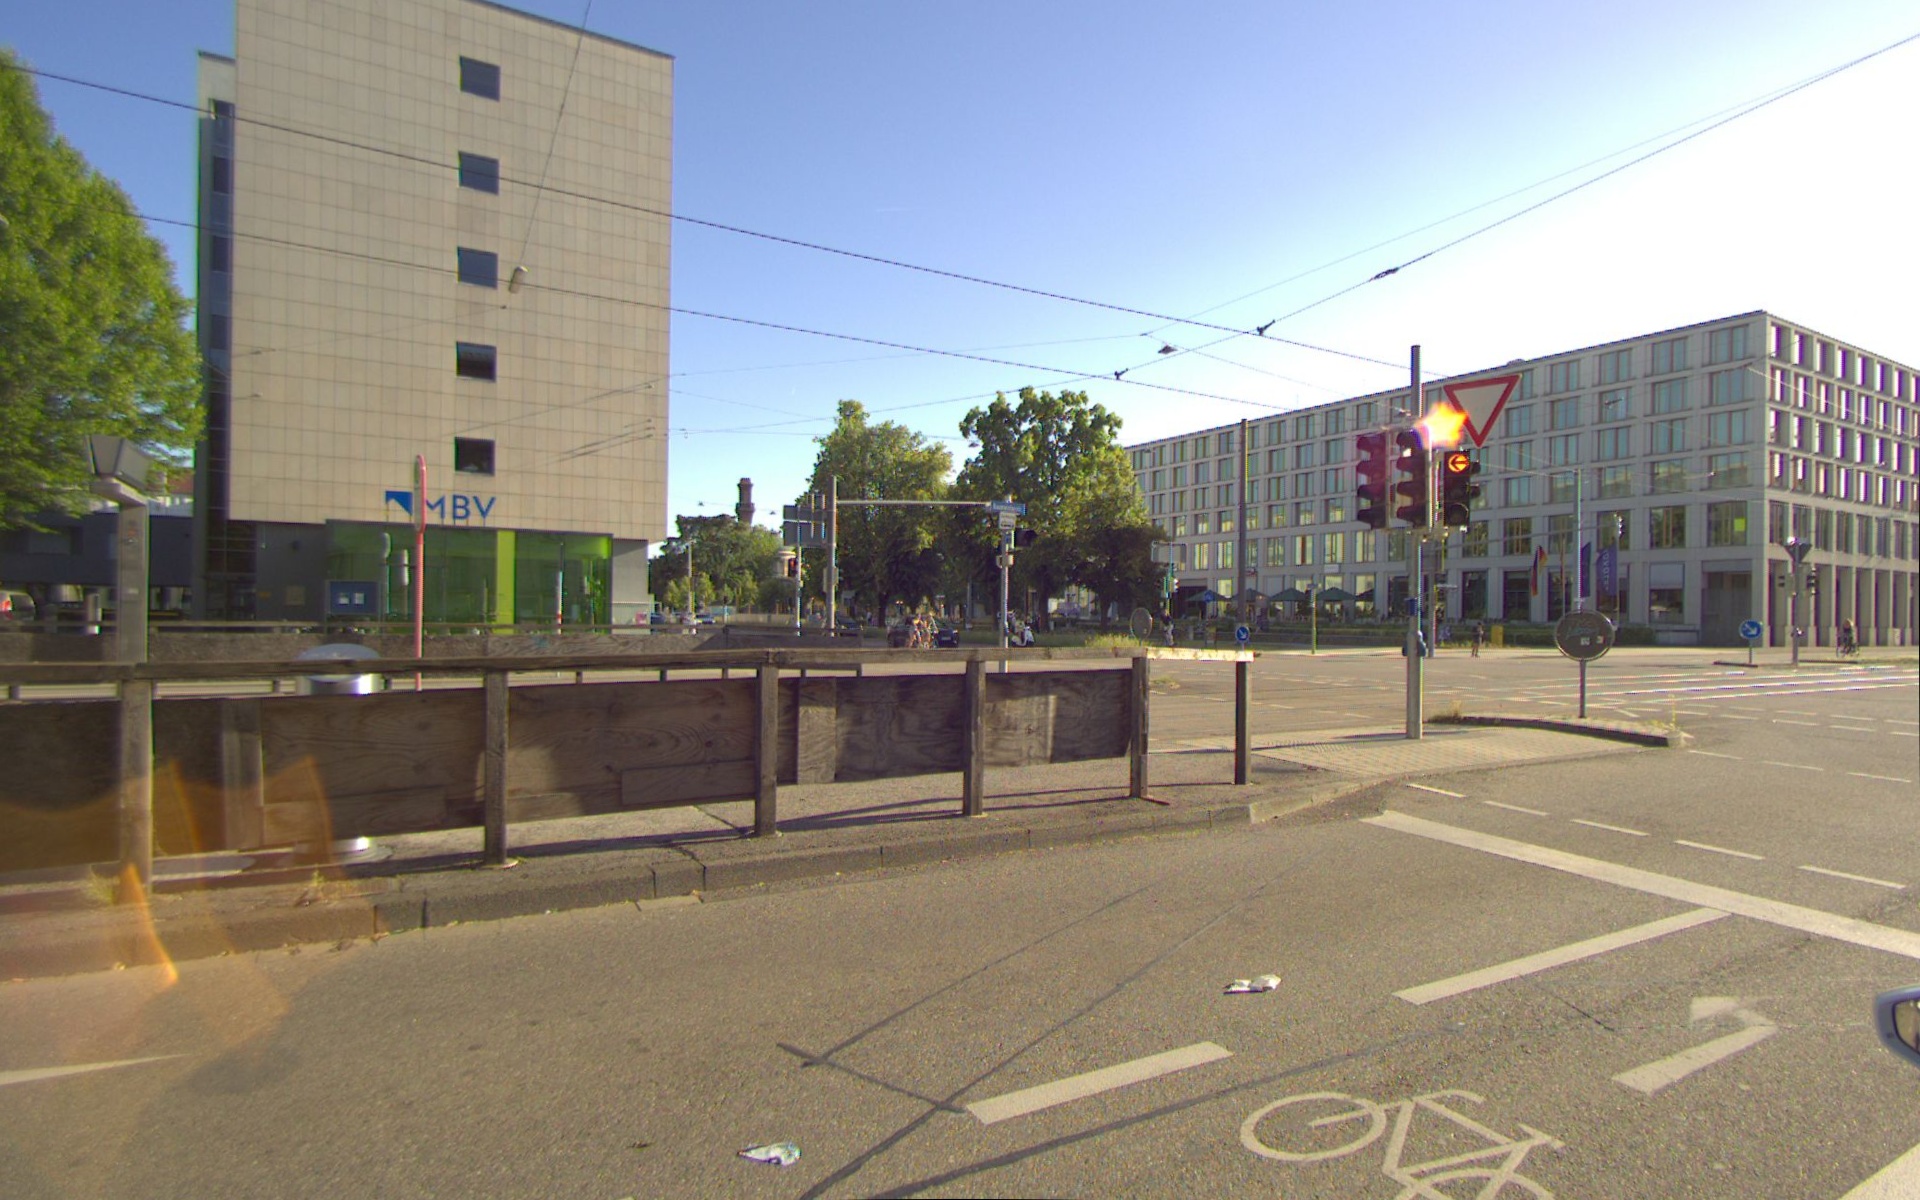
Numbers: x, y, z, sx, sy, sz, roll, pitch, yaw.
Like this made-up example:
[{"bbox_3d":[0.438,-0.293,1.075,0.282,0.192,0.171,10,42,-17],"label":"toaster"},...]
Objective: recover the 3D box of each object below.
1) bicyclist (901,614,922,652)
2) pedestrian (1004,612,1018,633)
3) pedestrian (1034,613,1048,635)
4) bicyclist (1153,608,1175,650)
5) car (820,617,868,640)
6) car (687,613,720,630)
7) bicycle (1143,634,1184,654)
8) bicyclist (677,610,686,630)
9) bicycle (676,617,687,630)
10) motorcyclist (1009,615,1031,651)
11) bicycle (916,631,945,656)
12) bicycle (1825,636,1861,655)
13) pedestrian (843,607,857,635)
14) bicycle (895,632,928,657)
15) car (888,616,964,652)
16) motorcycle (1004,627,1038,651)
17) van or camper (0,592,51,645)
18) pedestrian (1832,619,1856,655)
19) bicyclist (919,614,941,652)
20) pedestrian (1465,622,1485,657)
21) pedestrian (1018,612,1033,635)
[{"bbox_3d":[-2.028,1.366,42.015,0.577,1.563,0.833,1,-2,-32],"label":"bicyclist"},{"bbox_3d":[4.235,1.868,83.893,0.858,1.738,0.737,2,0,-26],"label":"pedestrian"},{"bbox_3d":[6.408,1.899,79.428,0.858,1.738,0.737,2,0,-26],"label":"pedestrian"},{"bbox_3d":[8.677,1.242,42.754,0.762,1.784,0.532,1,-1,-30],"label":"bicyclist"},{"bbox_3d":[-7.723,1.865,66.704,1.674,1.506,3.719,1,-1,-33],"label":"car"},{"bbox_3d":[-23.715,1.957,92.861,1.975,1.472,4.179,2,0,-28],"label":"car"},{"bbox_3d":[8.651,1.874,42.744,1.831,0.798,0.532,1,-1,-31],"label":"bicycle"},{"bbox_3d":[-23.155,1.642,83.485,0.576,1.658,0.890,1,-1,-27],"label":"bicyclist"},{"bbox_3d":[-23.129,1.934,83.451,0.576,1.032,1.666,1,-1,-27],"label":"bicycle"},{"bbox_3d":[2.812,1.537,46.986,0.624,1.601,0.812,-3,1,-28],"label":"motorcyclist"},{"bbox_3d":[-1.262,1.825,42.380,0.576,1.032,1.666,1,-1,-27],"label":"bicycle"},{"bbox_3d":[40.257,2.075,45.784,1.694,0.834,0.570,1,-1,-23],"label":"bicycle"},{"bbox_3d":[-8.150,1.556,74.136,0.772,2.040,0.747,1,-1,-31],"label":"pedestrian"},{"bbox_3d":[-2.033,1.844,42.019,0.577,1.032,1.806,1,-3,-31],"label":"bicycle"},{"bbox_3d":[-1.626,1.573,46.985,1.925,1.561,3.969,2,-2,-29],"label":"car"},{"bbox_3d":[2.852,1.818,46.955,0.624,1.030,1.972,-3,1,-28],"label":"motorcycle"},{"bbox_3d":[-27.883,0.429,27.564,3.954,1.425,1.954,4,-3,-30],"label":"van or camper"},{"bbox_3d":[40.296,1.680,45.803,0.734,1.616,0.570,1,-1,-23],"label":"pedestrian"},{"bbox_3d":[-1.268,1.389,42.416,0.576,1.563,0.890,1,-1,-27],"label":"bicyclist"},{"bbox_3d":[25.116,1.917,48.984,0.597,1.703,0.602,1,-1,-22],"label":"pedestrian"},{"bbox_3d":[5.187,1.876,79.617,0.858,1.738,0.737,2,0,-26],"label":"pedestrian"}]
